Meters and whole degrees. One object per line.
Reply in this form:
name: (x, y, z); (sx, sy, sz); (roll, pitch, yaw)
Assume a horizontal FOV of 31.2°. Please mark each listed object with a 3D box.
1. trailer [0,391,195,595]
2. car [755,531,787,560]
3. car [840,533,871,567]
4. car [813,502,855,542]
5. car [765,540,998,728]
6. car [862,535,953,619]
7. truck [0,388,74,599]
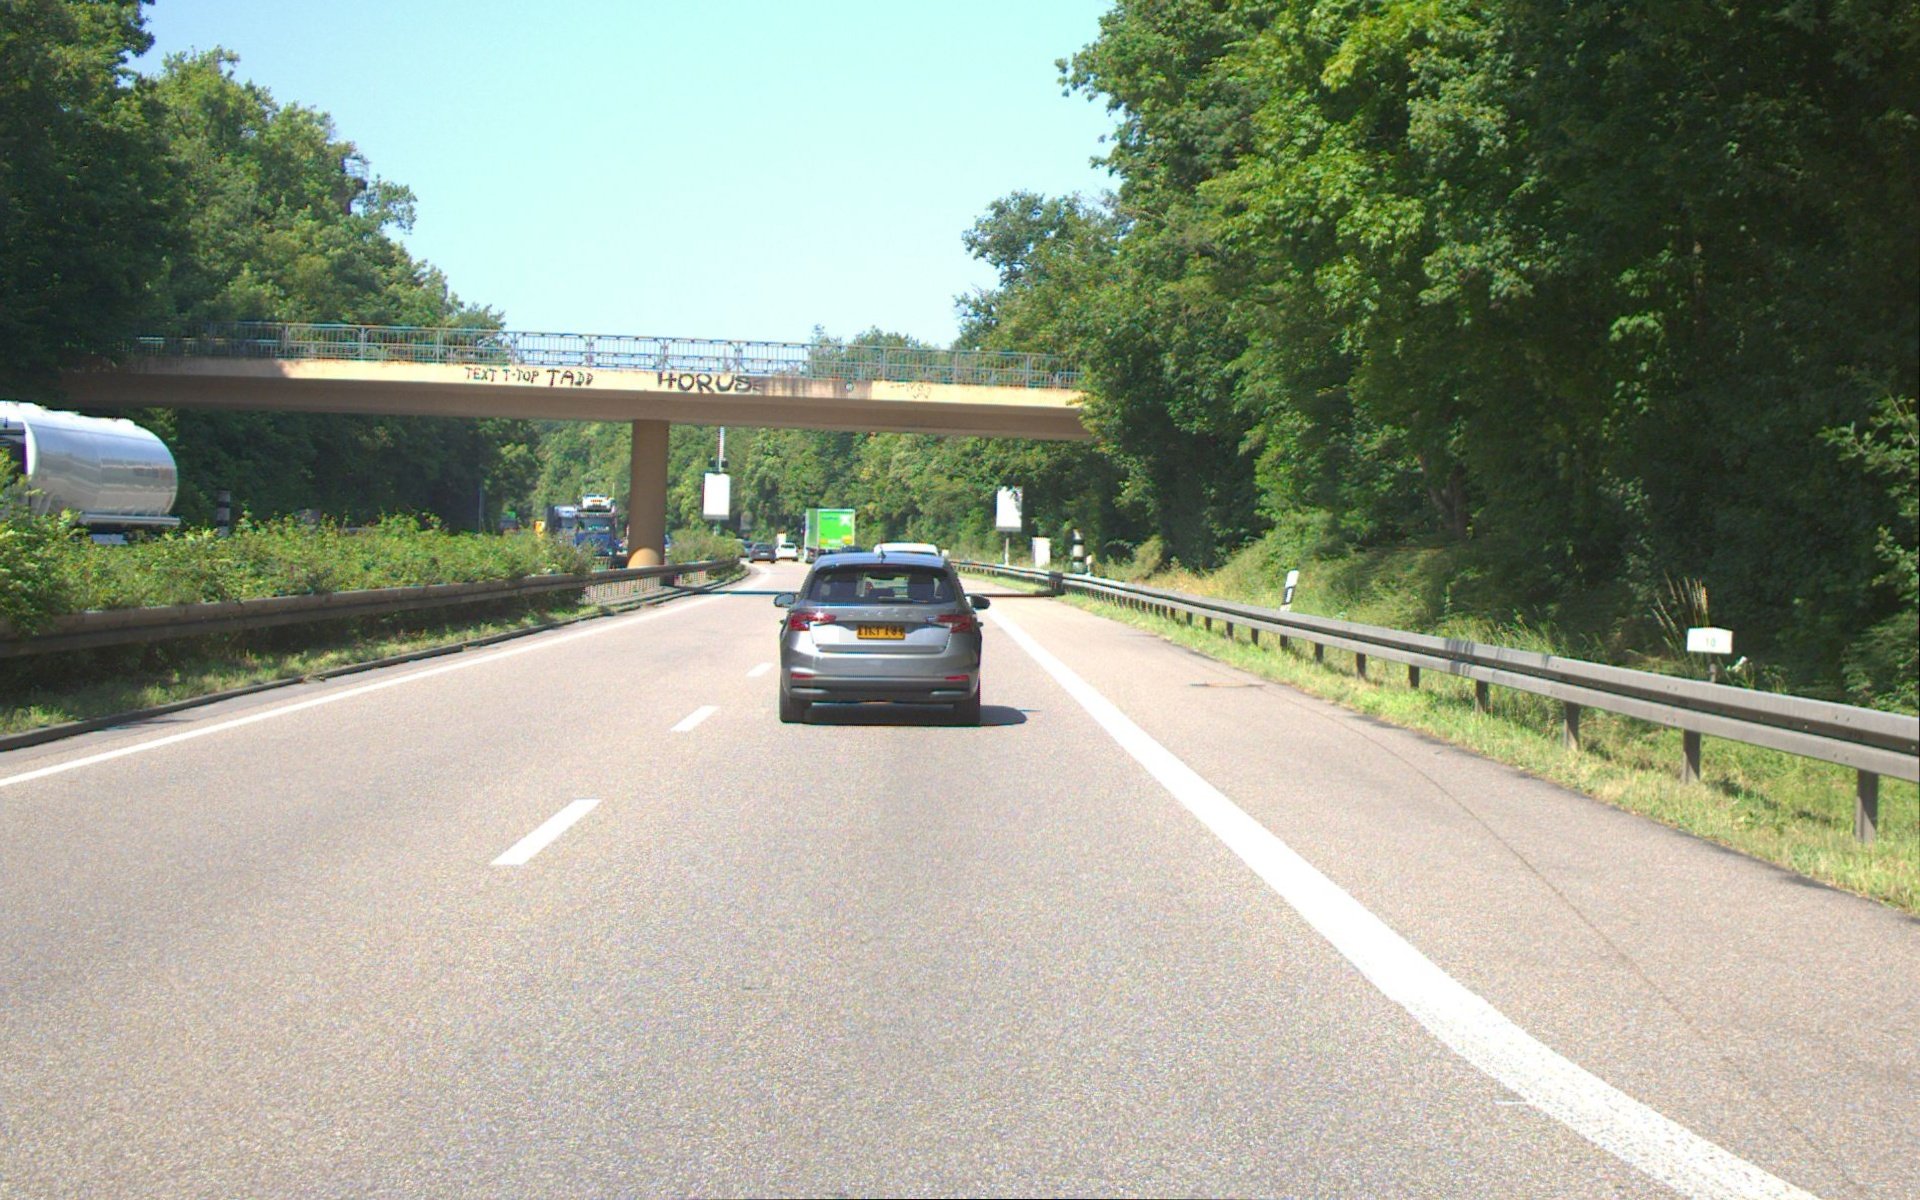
trailer: (-16.318, -1.892, 63.185); (1.993, 3.390, 11.420); (1, 1, 0)
car: (-13.392, -3.897, 243.809); (1.993, 2.007, 4.000); (1, 1, -1)
car: (-6.325, -3.029, 208.508); (1.763, 2.007, 3.587); (1, 1, 0)
car: (-8.699, -5.387, 237.725); (2.748, 2.645, 4.000); (1, 1, -1)
car: (-0.623, 0.244, 29.763); (1.840, 1.467, 3.623); (1, 1, 1)
car: (-0.927, -0.438, 62.269); (1.522, 1.441, 3.340); (1, 1, 1)
truck: (-16.299, -1.737, 56.406); (2.338, 3.330, 4.542); (1, 1, 0)
